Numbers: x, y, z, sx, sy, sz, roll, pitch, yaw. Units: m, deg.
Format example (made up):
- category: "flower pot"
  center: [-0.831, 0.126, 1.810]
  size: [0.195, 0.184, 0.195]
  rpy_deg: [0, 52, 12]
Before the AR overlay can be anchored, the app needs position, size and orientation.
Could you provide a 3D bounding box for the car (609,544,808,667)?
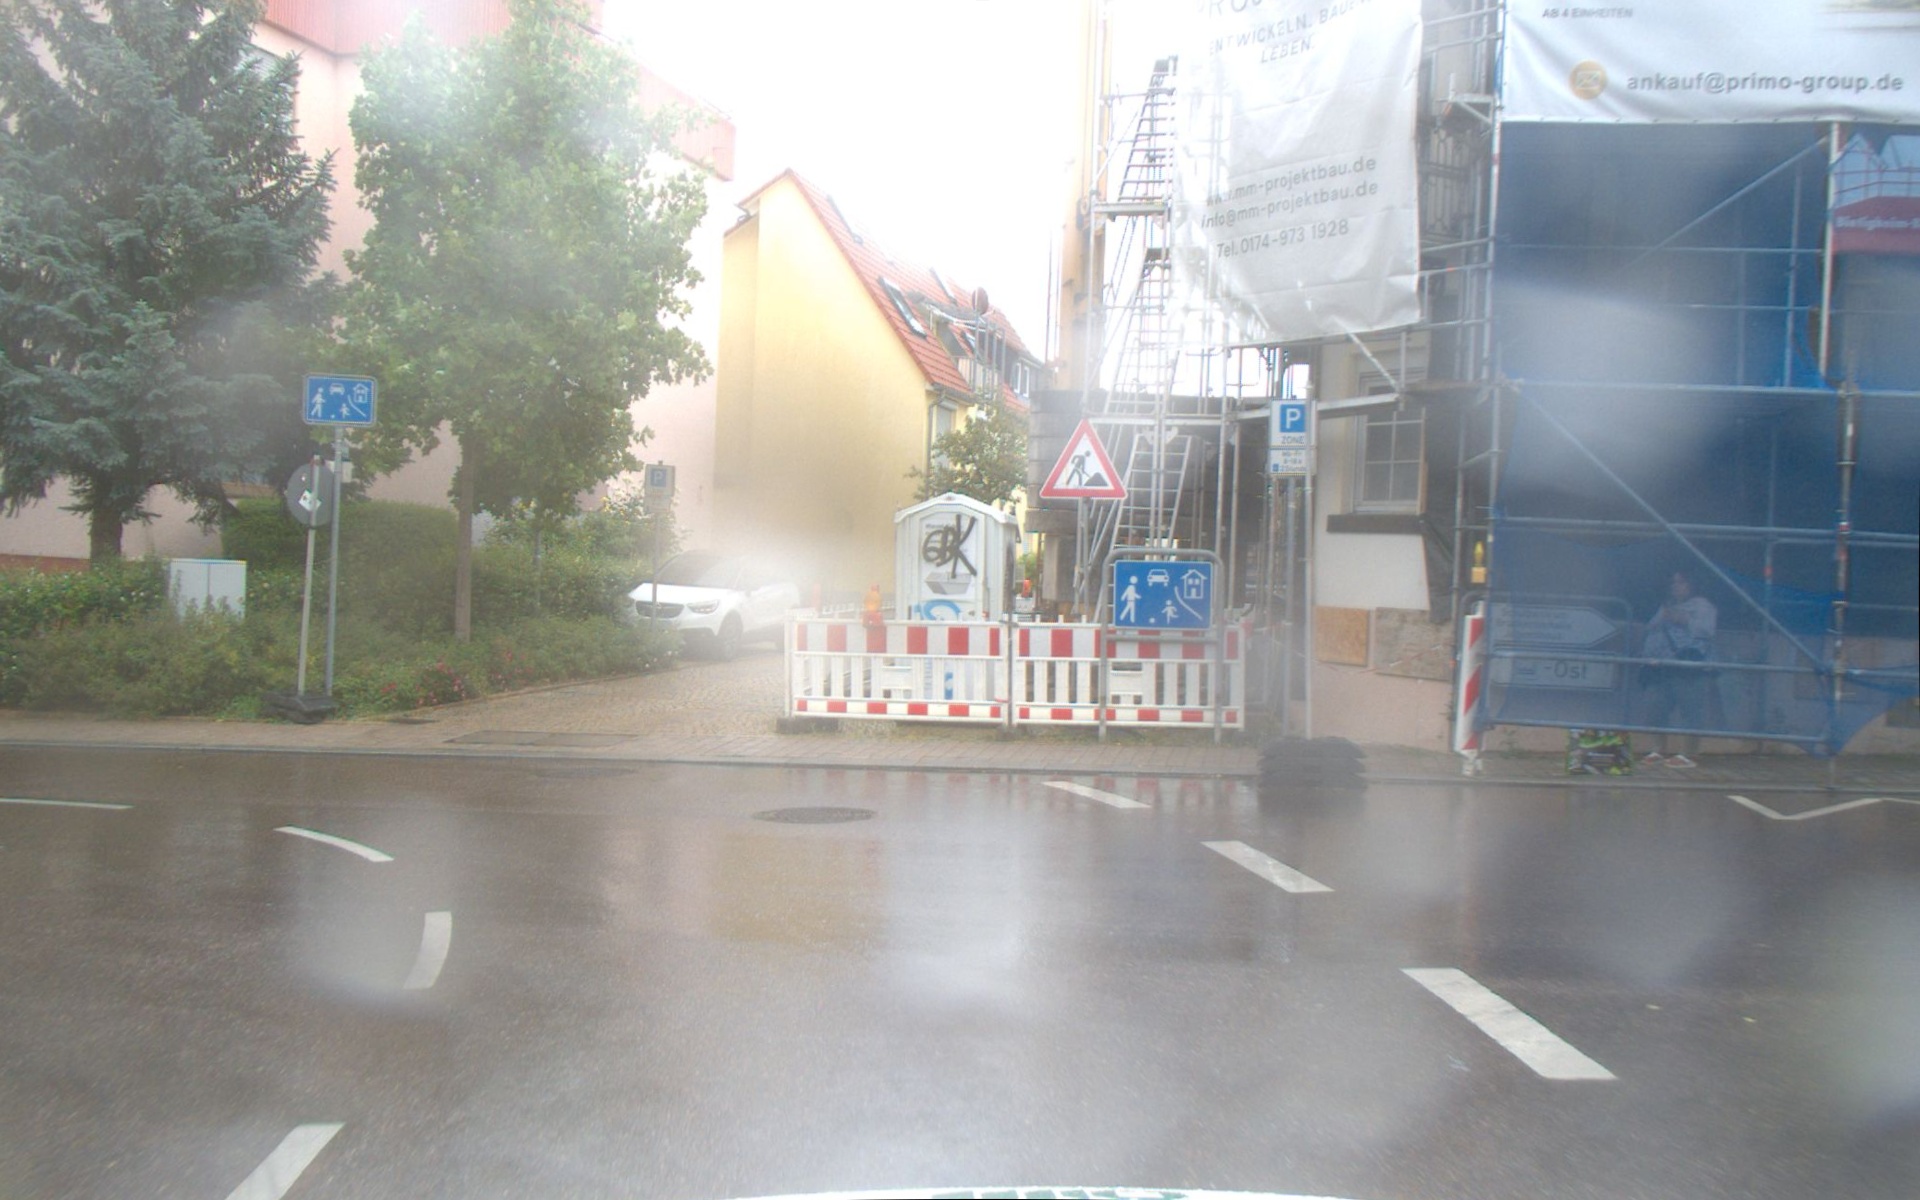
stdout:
- category: "car"
  center: [-3.846, 0.033, 25.972]
  size: [1.566, 1.707, 3.941]
  rpy_deg: [3, 2, 15]
